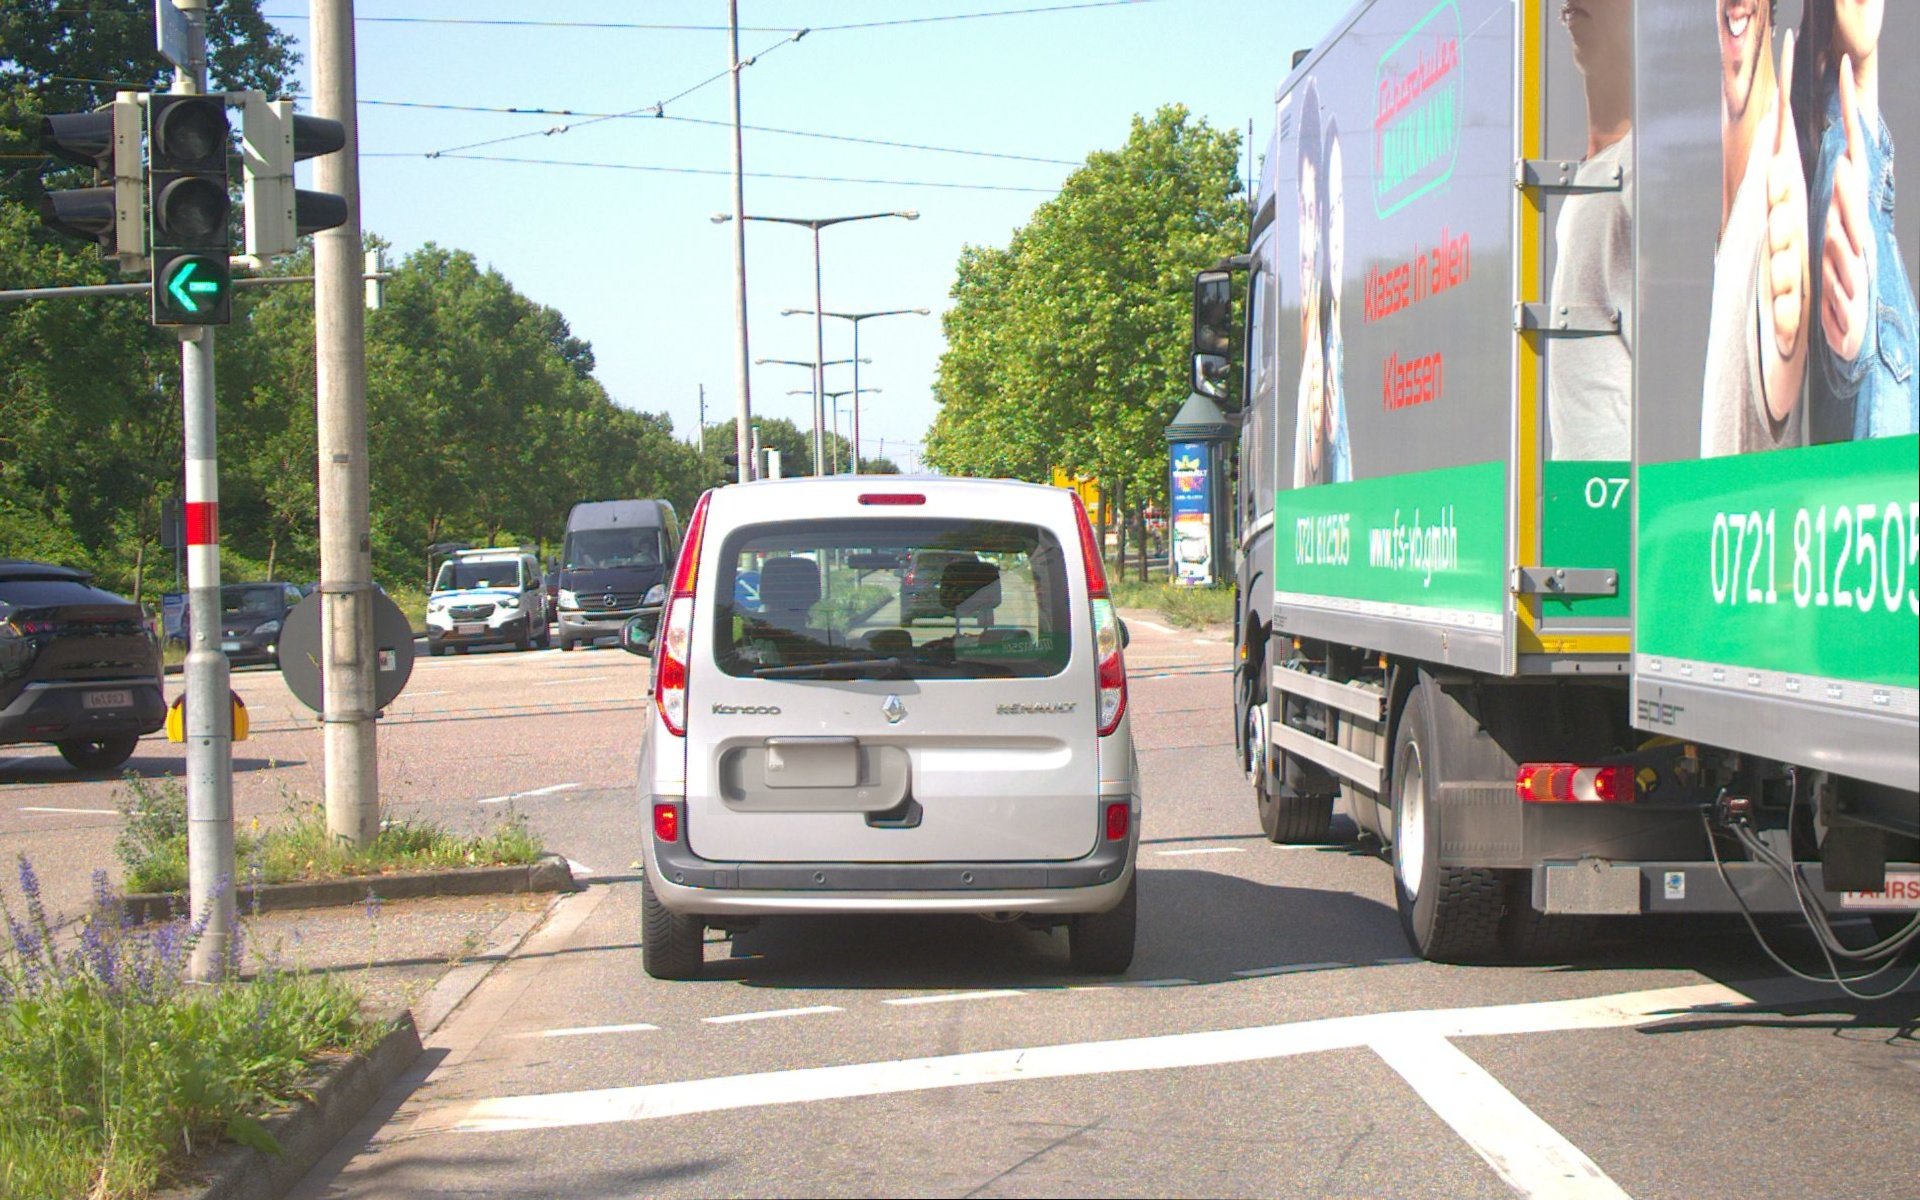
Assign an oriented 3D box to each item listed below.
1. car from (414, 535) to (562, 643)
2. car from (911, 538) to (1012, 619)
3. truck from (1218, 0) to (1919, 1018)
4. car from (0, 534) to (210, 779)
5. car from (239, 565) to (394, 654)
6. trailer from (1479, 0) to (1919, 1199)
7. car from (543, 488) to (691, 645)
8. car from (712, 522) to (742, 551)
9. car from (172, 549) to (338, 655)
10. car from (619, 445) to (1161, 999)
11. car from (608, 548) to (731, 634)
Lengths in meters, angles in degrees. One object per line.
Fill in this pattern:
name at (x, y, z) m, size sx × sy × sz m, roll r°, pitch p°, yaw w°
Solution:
car at (-8.609, -0.213, 63.093) m, size 1.993 × 1.863 × 4.773 m, roll -2°, pitch 0°, yaw 0°
car at (0.063, -0.447, 70.789) m, size 1.993 × 1.579 × 4.456 m, roll 1°, pitch 0°, yaw 1°
truck at (2.825, -0.720, 14.785) m, size 2.729 × 3.876 × 8.723 m, roll -1°, pitch 0°, yaw 0°
car at (-7.888, 0.402, 25.620) m, size 4.221 × 1.656 × 1.934 m, roll -1°, pitch 1°, yaw 29°
car at (-11.851, 0.152, 63.566) m, size 1.993 × 1.535 × 4.236 m, roll -2°, pitch 0°, yaw 0°
trailer at (2.995, -0.495, 6.534) m, size 2.736 × 3.863 × 7.736 m, roll -1°, pitch 0°, yaw -1°
car at (-6.000, -0.585, 60.640) m, size 1.993 × 2.598 × 5.133 m, roll -2°, pitch 0°, yaw 0°
car at (-16.593, -4.493, 245.275) m, size 1.888 × 2.007 × 4.000 m, roll 1°, pitch 0°, yaw 0°
car at (-11.584, 0.025, 56.718) m, size 1.911 × 1.636 × 3.737 m, roll -2°, pitch 0°, yaw 0°
car at (-0.319, 0.394, 13.459) m, size 1.786 × 1.831 × 4.000 m, roll 1°, pitch 0°, yaw -3°
car at (-5.731, -0.186, 68.274) m, size 1.993 × 1.579 × 4.000 m, roll -2°, pitch 0°, yaw 1°
